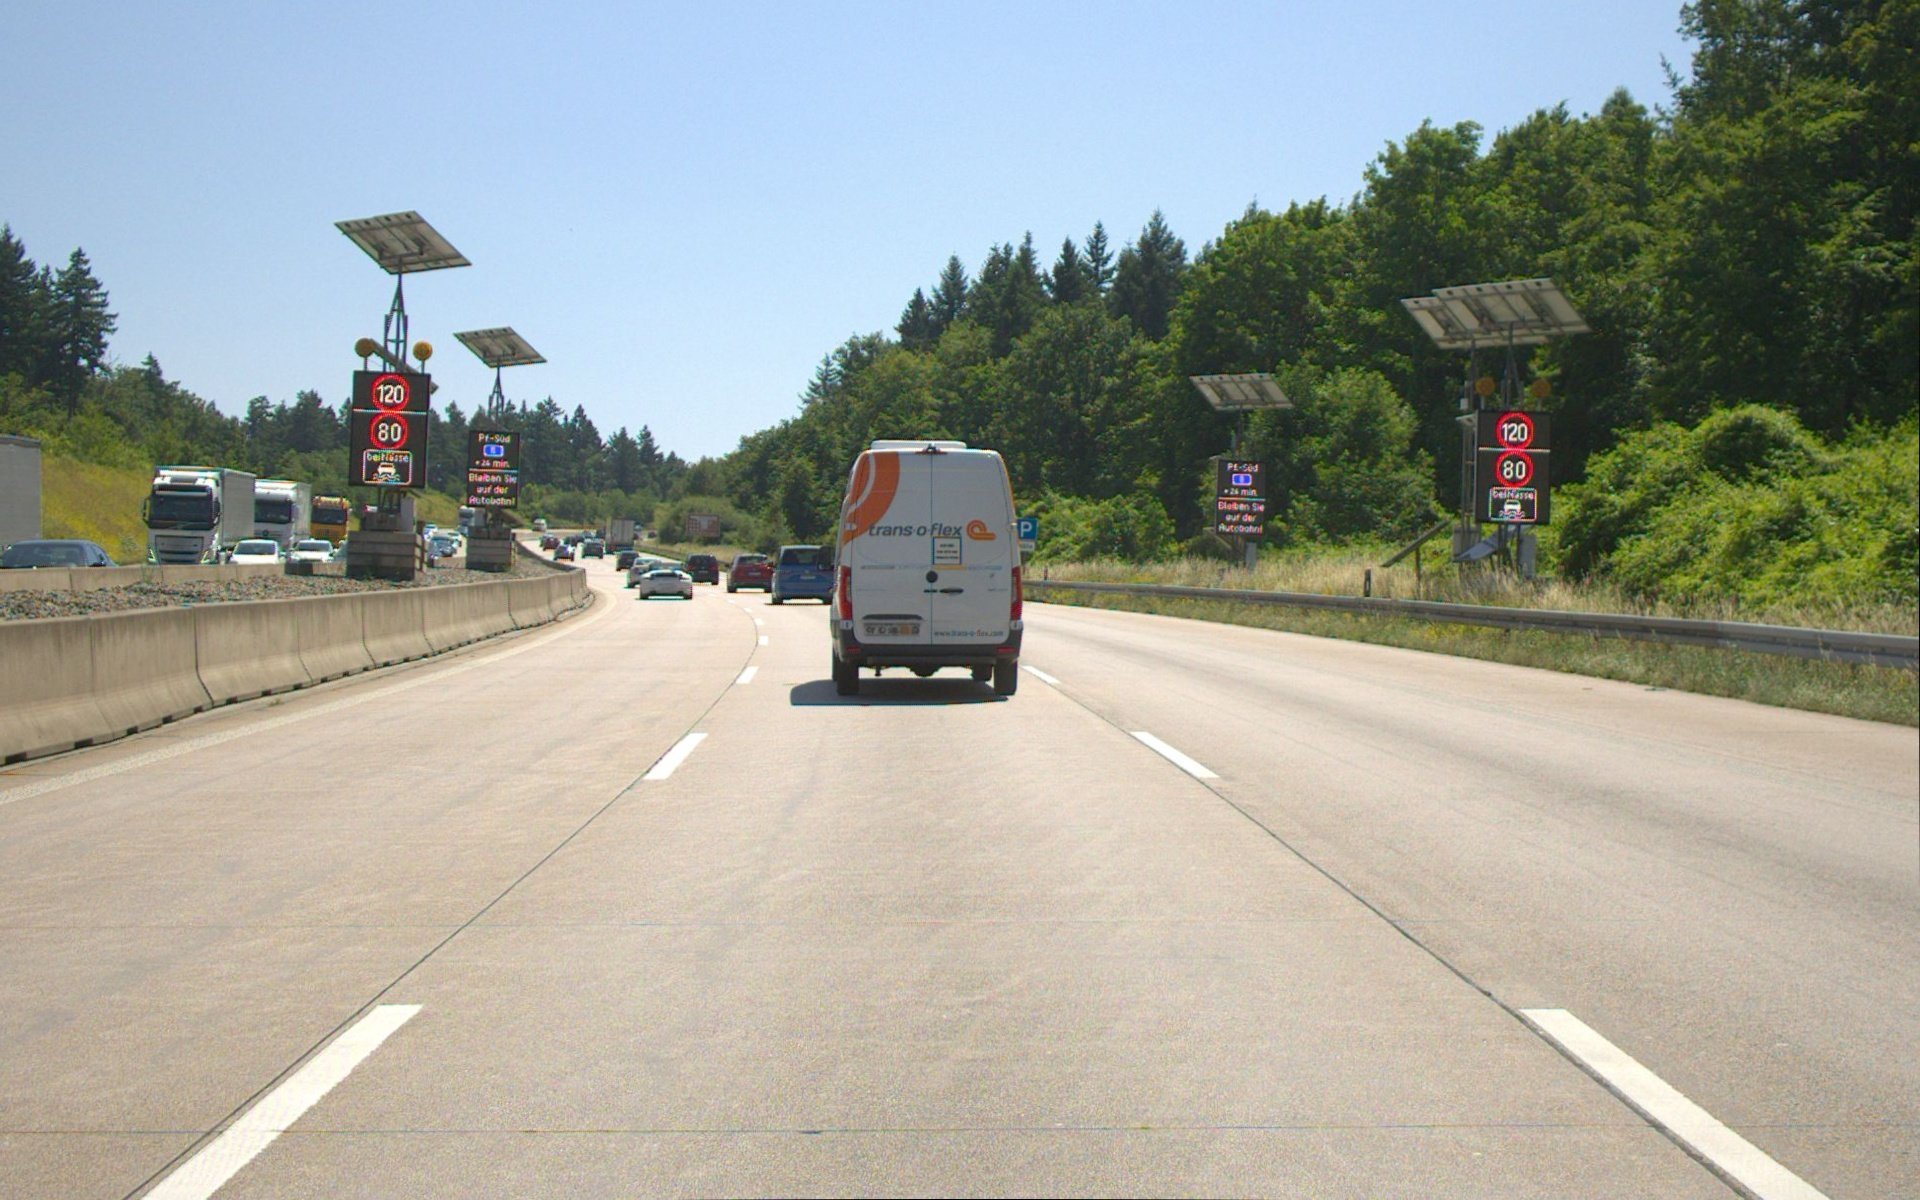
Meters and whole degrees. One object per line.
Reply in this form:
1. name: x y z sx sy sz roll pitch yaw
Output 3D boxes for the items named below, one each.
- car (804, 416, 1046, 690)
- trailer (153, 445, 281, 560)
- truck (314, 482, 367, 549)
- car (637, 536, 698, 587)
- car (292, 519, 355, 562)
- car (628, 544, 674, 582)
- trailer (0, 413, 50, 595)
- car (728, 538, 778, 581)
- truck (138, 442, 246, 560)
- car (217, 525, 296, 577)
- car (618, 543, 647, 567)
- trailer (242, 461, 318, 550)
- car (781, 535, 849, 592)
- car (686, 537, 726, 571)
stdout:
1. car: -0.484 -0.559 38.466 2.226 2.834 5.455 0 2 -5
2. trailer: -29.120 -3.717 135.370 2.933 4.154 14.391 2 1 -5
3. truck: -42.393 -5.759 235.456 2.913 4.498 11.261 0 1 -7
4. car: -10.296 -1.351 121.126 1.993 1.678 4.001 2 1 -4
5. car: -25.566 -2.398 138.153 1.993 1.678 4.001 0 1 -3
6. car: -14.330 -1.723 159.606 1.993 1.678 4.001 2 1 -4
7. trailer: -23.355 -2.236 77.284 2.933 4.154 14.391 2 1 -5
8. car: -8.702 -1.709 144.043 1.993 1.678 4.001 2 1 -4
9. truck: -28.435 -3.617 127.539 2.933 4.154 6.230 2 0 -5
10. car: -23.116 -1.605 113.105 1.993 1.678 4.001 0 1 -3
11. car: -24.814 -3.402 260.271 1.993 1.678 4.001 2 1 -4
12. trailer: -33.253 -4.581 168.210 2.933 4.154 6.892 2 0 -7
13. car: -4.656 -1.171 109.755 1.993 1.678 4.001 2 1 -4
14. car: -13.343 -2.439 180.741 1.993 1.678 4.001 2 1 -4
